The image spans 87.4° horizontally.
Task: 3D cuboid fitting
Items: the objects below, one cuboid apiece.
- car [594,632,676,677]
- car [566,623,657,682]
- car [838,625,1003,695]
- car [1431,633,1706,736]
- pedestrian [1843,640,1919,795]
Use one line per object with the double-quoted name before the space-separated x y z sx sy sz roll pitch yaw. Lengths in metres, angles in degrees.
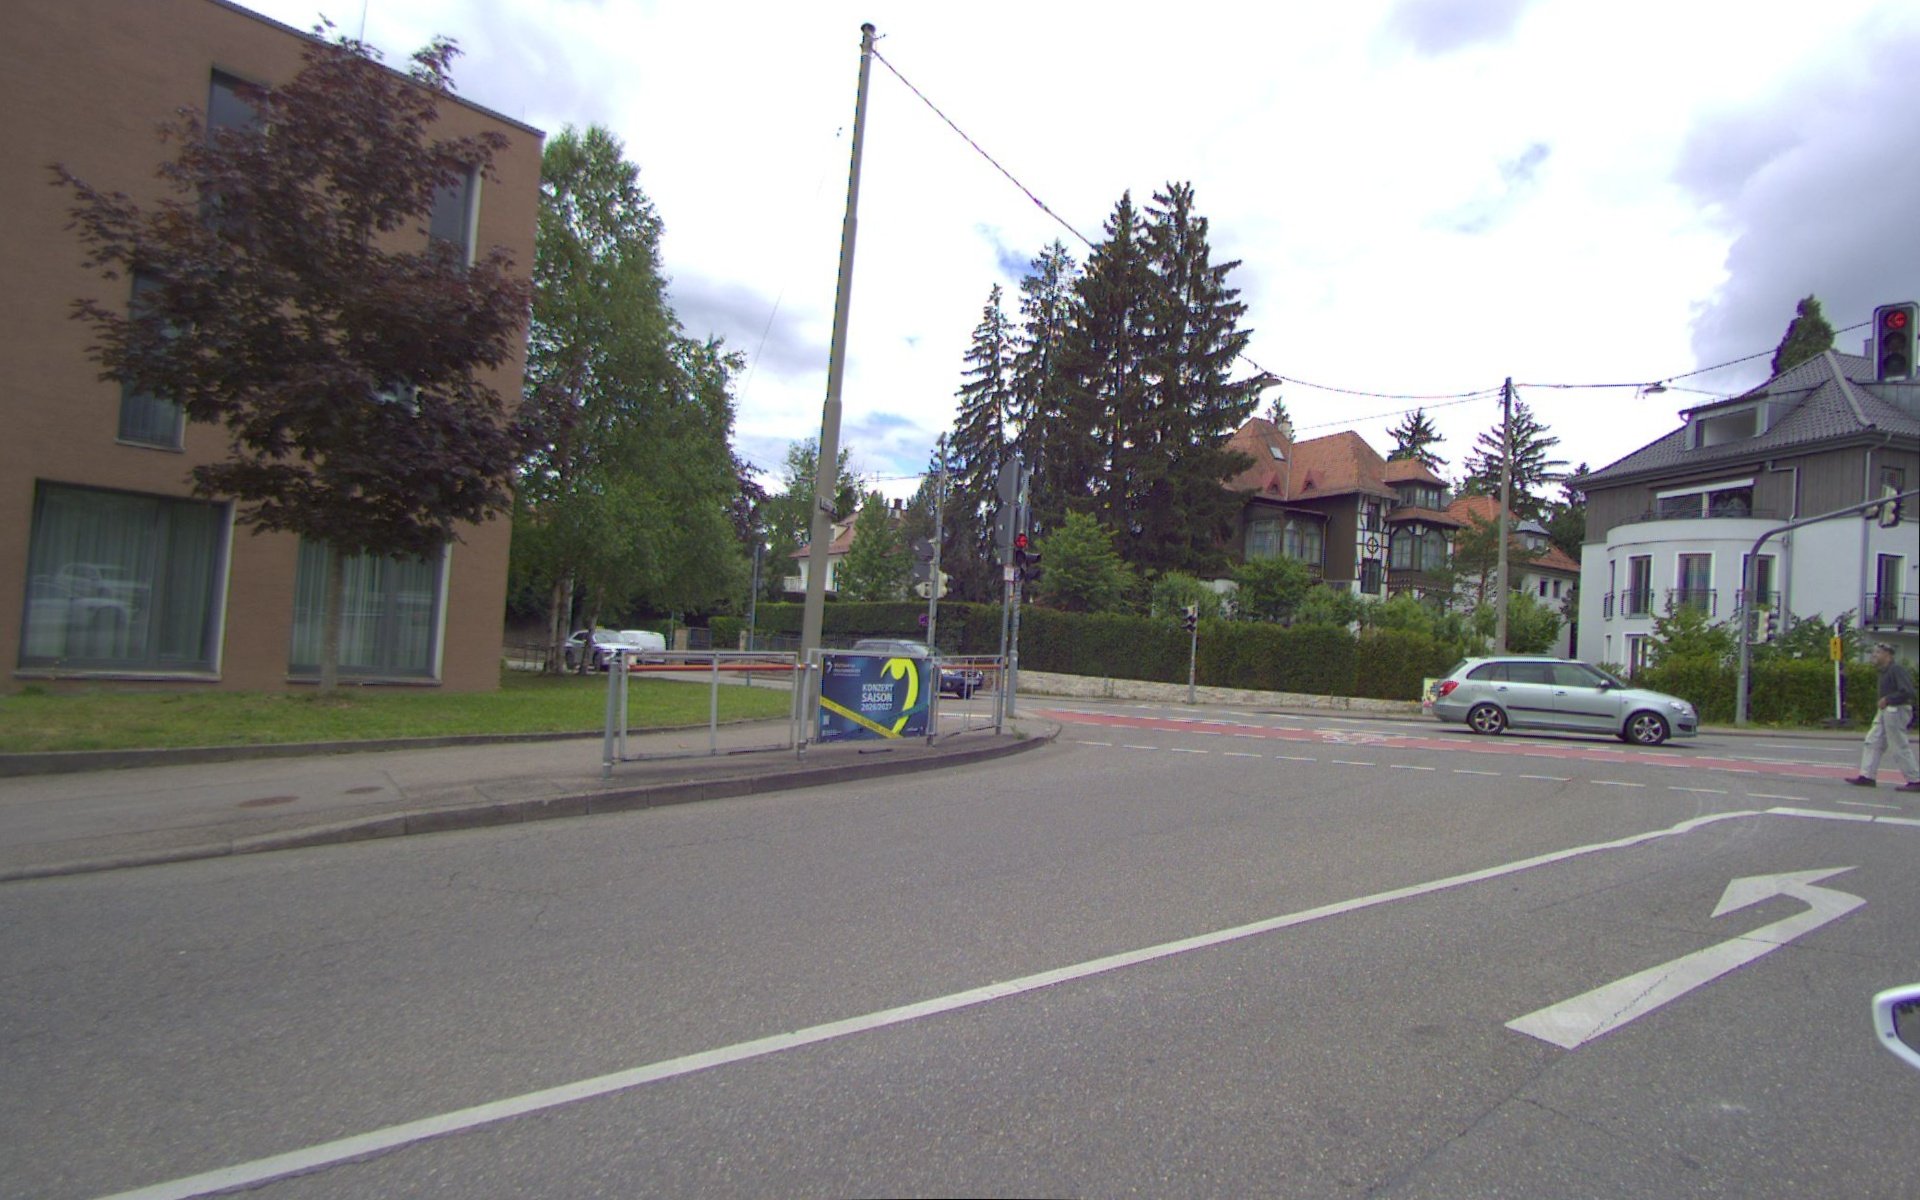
"car" -15.435 2.522 47.581 1.987 1.882 4.295 0 0 -45
"car" -14.029 2.043 40.291 1.986 2.041 4.110 0 2 -43
"car" -1.135 1.620 27.489 4.340 1.706 1.904 0 -4 41
"car" 10.958 1.468 18.468 4.116 1.496 1.711 2 1 26
"pedestrian" 10.721 1.321 11.575 0.687 1.704 0.685 0 0 29
